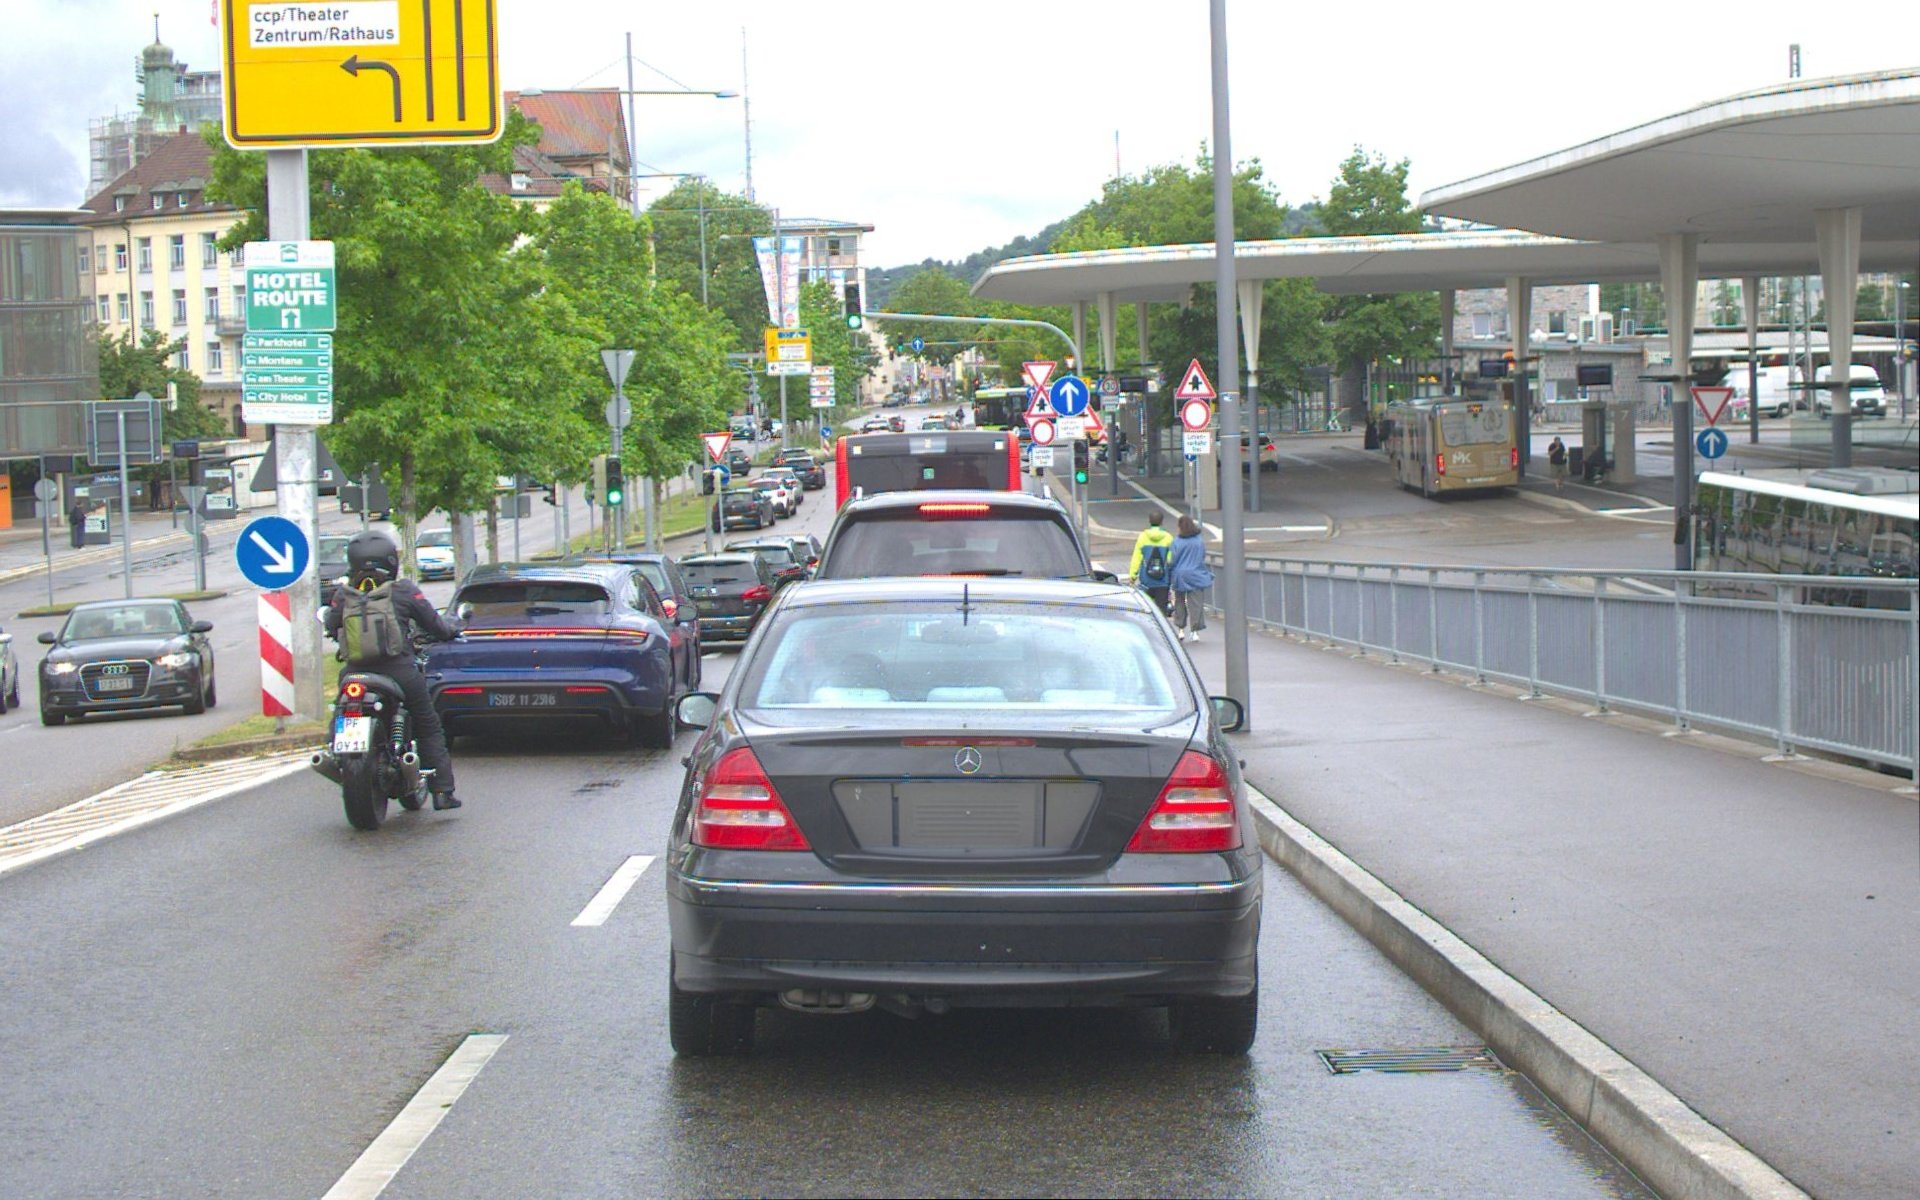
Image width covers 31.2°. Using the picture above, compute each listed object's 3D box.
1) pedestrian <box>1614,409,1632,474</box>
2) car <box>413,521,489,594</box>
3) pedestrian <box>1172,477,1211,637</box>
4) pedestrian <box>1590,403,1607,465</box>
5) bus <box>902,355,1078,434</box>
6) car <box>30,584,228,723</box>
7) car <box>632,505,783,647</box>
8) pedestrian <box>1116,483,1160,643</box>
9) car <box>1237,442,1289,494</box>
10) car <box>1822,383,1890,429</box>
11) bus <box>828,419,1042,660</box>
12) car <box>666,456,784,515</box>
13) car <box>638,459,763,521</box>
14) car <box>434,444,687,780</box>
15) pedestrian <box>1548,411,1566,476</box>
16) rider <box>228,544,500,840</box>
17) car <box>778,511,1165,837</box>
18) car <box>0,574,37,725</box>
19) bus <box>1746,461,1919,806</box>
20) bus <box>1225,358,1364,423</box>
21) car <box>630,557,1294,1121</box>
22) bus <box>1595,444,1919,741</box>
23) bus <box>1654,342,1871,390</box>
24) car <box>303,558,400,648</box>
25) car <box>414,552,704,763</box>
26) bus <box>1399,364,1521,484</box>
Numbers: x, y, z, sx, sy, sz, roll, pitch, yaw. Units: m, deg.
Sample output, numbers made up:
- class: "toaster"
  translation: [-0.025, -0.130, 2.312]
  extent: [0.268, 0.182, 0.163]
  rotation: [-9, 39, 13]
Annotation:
- class: "pedestrian"
  translation: [20.934, -5.004, 108.555]
  extent: [0.424, 2.007, 0.483]
  rotation: [-2, -1, 2]
- class: "car"
  translation: [-14.642, -1.209, 99.108]
  extent: [1.993, 2.007, 4.203]
  rotation: [-2, 0, -7]
- class: "pedestrian"
  translation: [2.941, -0.544, 43.690]
  extent: [0.424, 2.007, 0.483]
  rotation: [-2, -1, 2]
- class: "pedestrian"
  translation: [20.800, -5.406, 112.019]
  extent: [0.424, 2.006, 0.483]
  rotation: [-2, 2, 2]
- class: "bus"
  translation: [1.552, -11.103, 184.853]
  extent: [3.257, 3.993, 10.890]
  rotation: [-6, 7, -38]
- class: "car"
  translation: [-10.045, 0.611, 41.861]
  extent: [1.832, 1.521, 4.595]
  rotation: [-2, 0, -8]
- class: "car"
  translation: [-3.686, -0.394, 50.767]
  extent: [1.993, 1.999, 4.001]
  rotation: [0, 2, -1]
- class: "pedestrian"
  translation: [2.273, -0.468, 43.844]
  extent: [0.489, 2.007, 0.469]
  rotation: [-2, -1, 2]
- class: "car"
  translation: [12.106, -5.280, 137.297]
  extent: [1.994, 2.006, 4.000]
  rotation: [-2, 2, 5]
- class: "car"
  translation: [40.977, -8.881, 157.304]
  extent: [1.993, 2.006, 4.001]
  rotation: [-2, 3, -1]
- class: "bus"
  translation: [-0.390, -0.930, 50.793]
  extent: [2.827, 3.178, 10.310]
  rotation: [0, 1, -1]
- class: "car"
  translation: [-8.559, -4.185, 125.525]
  extent: [3.987, 2.006, 2.000]
  rotation: [-2, 2, 4]
- class: "car"
  translation: [-8.903, -3.783, 118.250]
  extent: [3.987, 2.006, 2.000]
  rotation: [-2, 2, 4]
- class: "car"
  translation: [-3.857, 0.191, 33.900]
  extent: [1.993, 2.001, 3.997]
  rotation: [-2, -20, 0]
- class: "pedestrian"
  translation: [18.473, -4.848, 106.405]
  extent: [0.424, 2.006, 0.483]
  rotation: [-2, 2, 2]
- class: "rider"
  translation: [-3.167, 0.446, 18.510]
  extent: [0.881, 1.467, 2.196]
  rotation: [1, 2, 6]
- class: "car"
  translation: [0.175, 0.330, 19.967]
  extent: [1.827, 1.681, 3.999]
  rotation: [0, 2, 6]
- class: "car"
  translation: [-14.231, 0.695, 48.079]
  extent: [1.993, 2.007, 4.001]
  rotation: [-2, 1, -8]
- class: "bus"
  translation: [11.082, 0.263, 38.163]
  extent: [2.646, 3.225, 7.074]
  rotation: [-2, 5, -4]
- class: "bus"
  translation: [18.520, -11.599, 190.562]
  extent: [7.197, 3.384, 3.083]
  rotation: [-2, 3, -4]
- class: "car"
  translation: [0.044, 0.596, 10.779]
  extent: [1.706, 1.415, 3.726]
  rotation: [1, 1, 1]
- class: "bus"
  translation: [10.572, -0.249, 45.257]
  extent: [2.646, 3.225, 7.074]
  rotation: [-2, 5, -4]
- class: "bus"
  translation: [39.485, -11.534, 169.339]
  extent: [10.167, 2.006, 2.170]
  rotation: [-2, 2, -3]
- class: "car"
  translation: [-14.501, 0.060, 82.106]
  extent: [1.993, 2.007, 4.203]
  rotation: [-2, 0, -7]
- class: "car"
  translation: [-2.989, 0.380, 26.362]
  extent: [1.760, 1.431, 4.000]
  rotation: [0, 2, 0]
- class: "bus"
  translation: [16.152, -5.623, 111.698]
  extent: [3.179, 3.588, 10.509]
  rotation: [-1, 2, 5]
